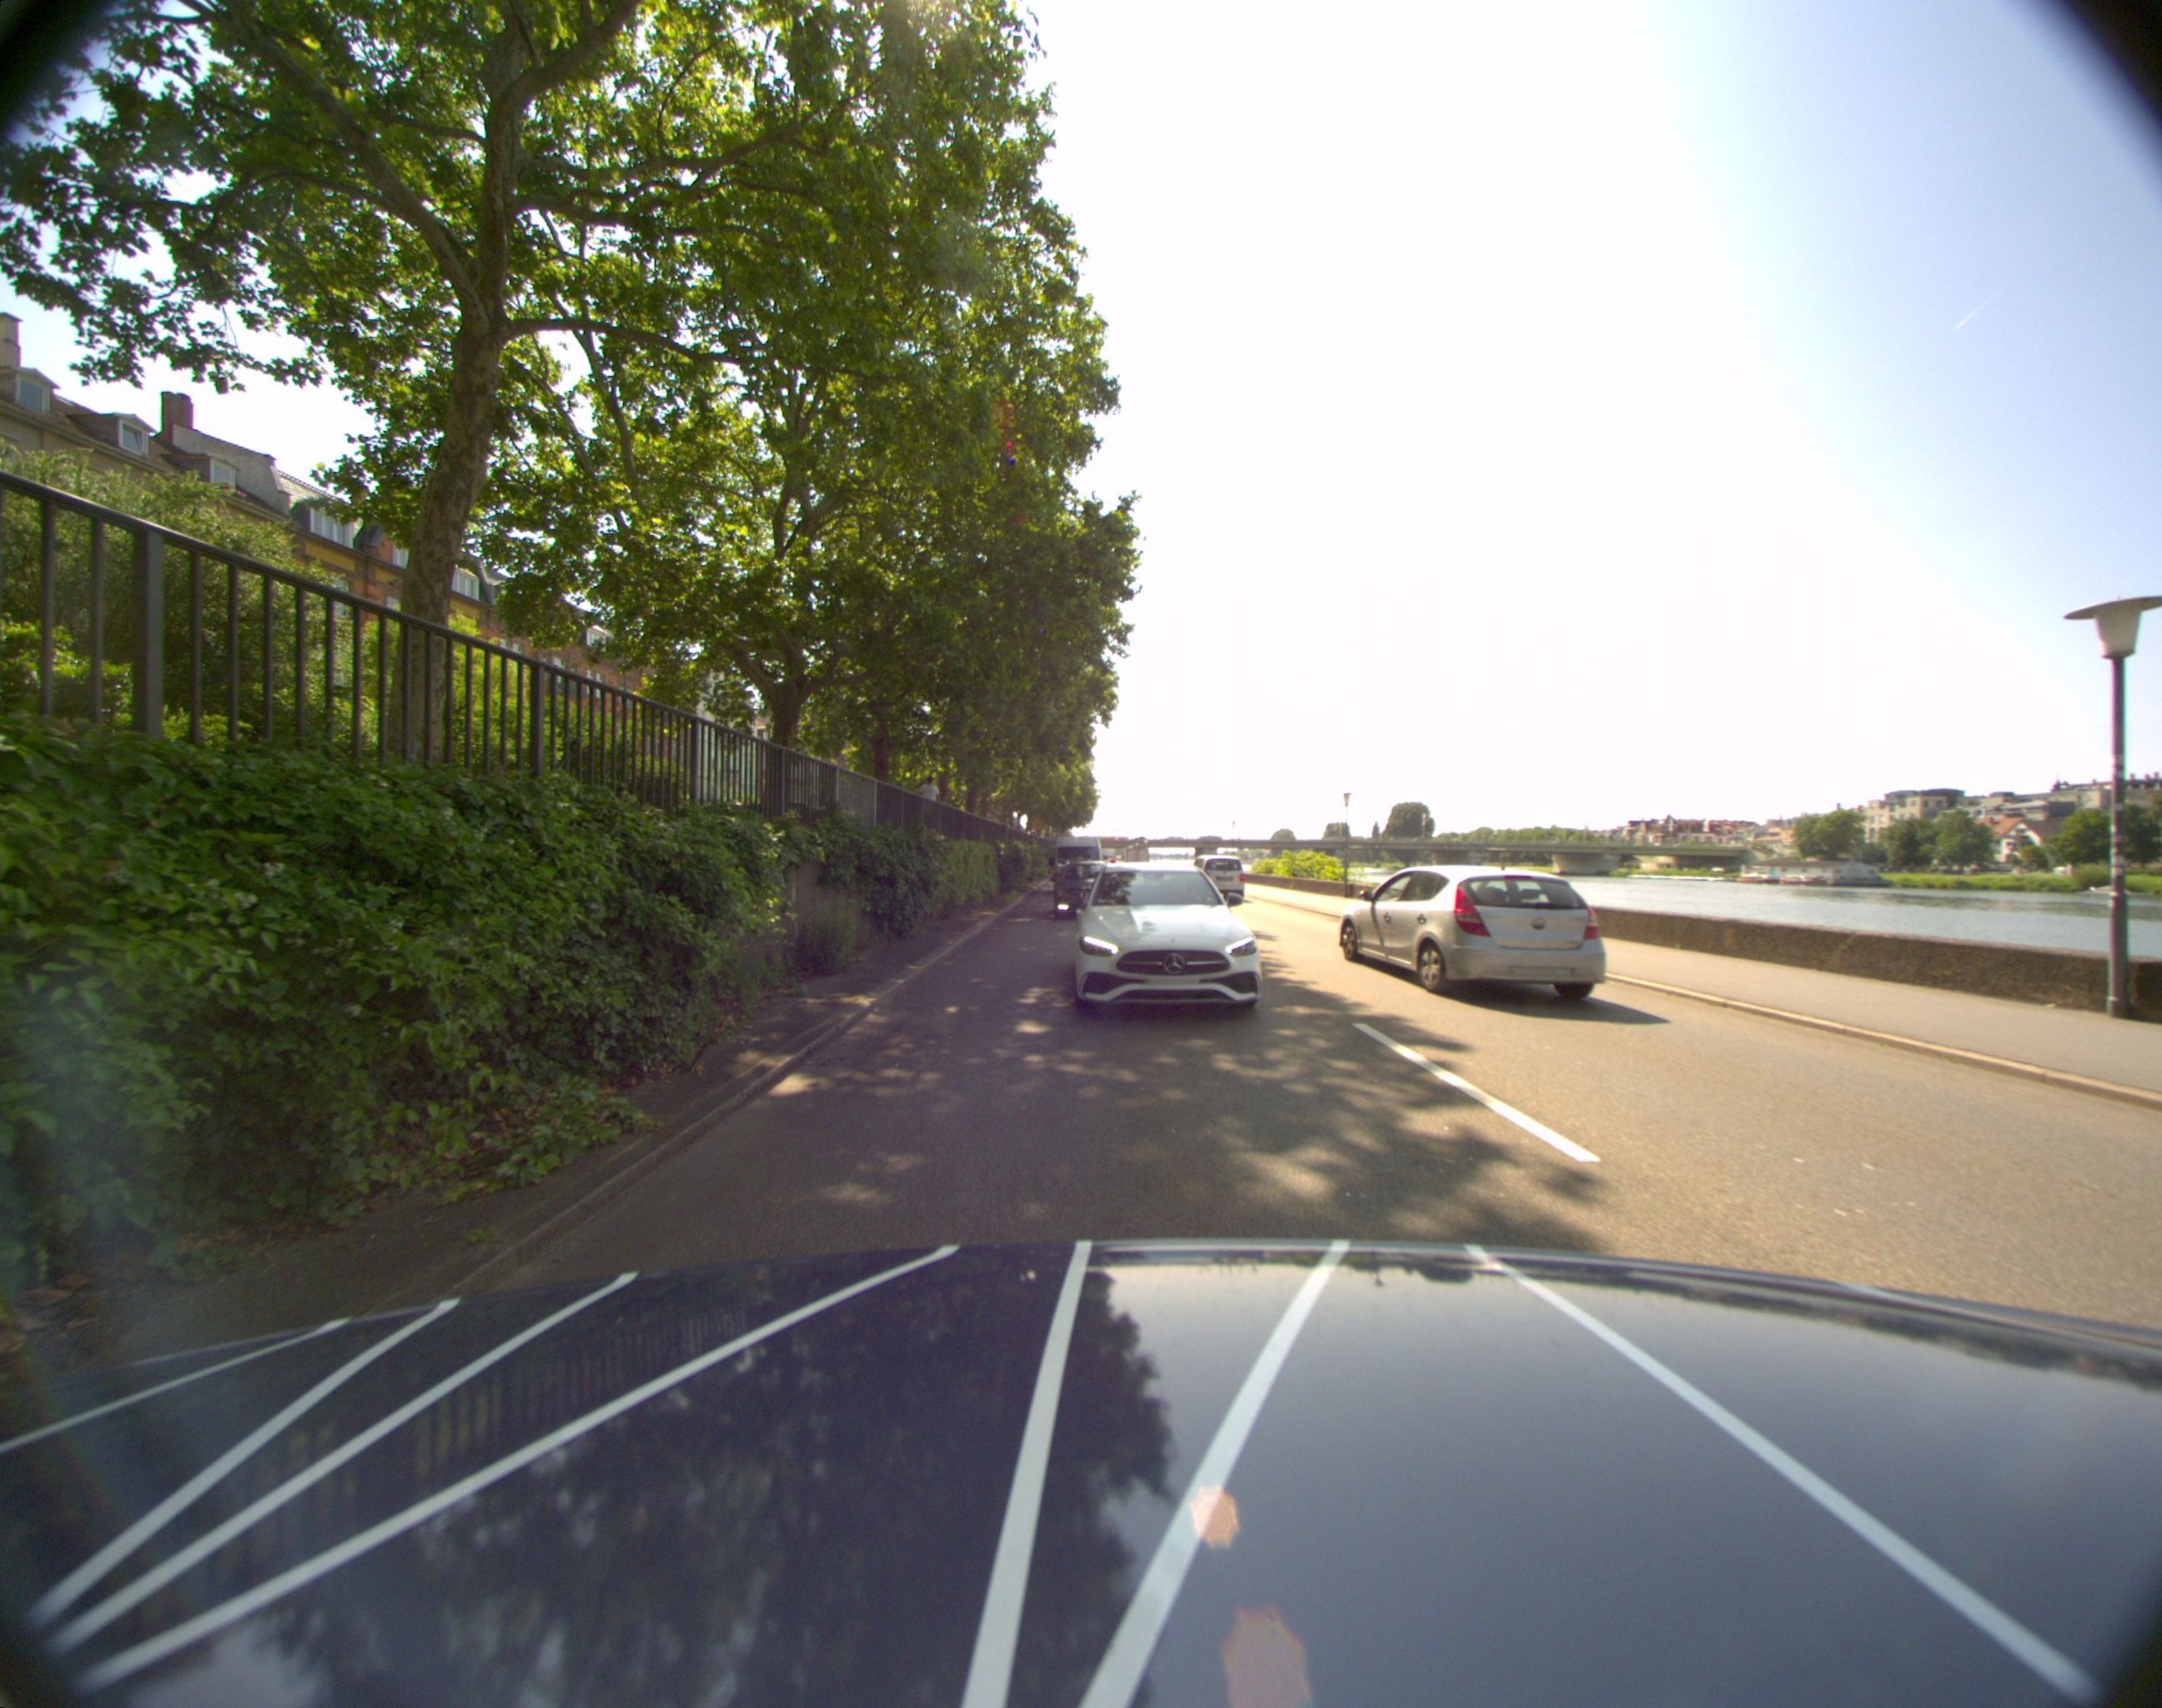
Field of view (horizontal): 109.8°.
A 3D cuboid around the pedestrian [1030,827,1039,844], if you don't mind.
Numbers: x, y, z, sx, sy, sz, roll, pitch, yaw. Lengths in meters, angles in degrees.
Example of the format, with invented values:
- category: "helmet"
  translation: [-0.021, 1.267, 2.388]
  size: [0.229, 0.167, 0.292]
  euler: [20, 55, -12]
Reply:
- category: "pedestrian"
  translation: [-4.508, -1.778, 73.484]
  size: [0.738, 1.582, 0.810]
  euler: [1, 1, 0]

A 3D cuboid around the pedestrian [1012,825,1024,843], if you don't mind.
- category: "pedestrian"
  translation: [-4.325, -1.380, 52.161]
  size: [0.713, 1.236, 0.742]
  euler: [1, 1, -1]

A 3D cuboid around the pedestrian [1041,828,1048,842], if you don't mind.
- category: "pedestrian"
  translation: [-4.102, -2.148, 84.988]
  size: [0.666, 1.582, 0.764]
  euler: [1, 1, 0]

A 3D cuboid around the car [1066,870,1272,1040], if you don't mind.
- category: "car"
  translation: [0.798, 0.951, 9.067]
  size: [1.830, 1.411, 4.552]
  euler: [0, 0, 0]

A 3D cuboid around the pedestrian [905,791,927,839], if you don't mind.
- category: "pedestrian"
  translation: [-5.010, -1.171, 23.144]
  size: [0.586, 1.411, 0.589]
  euler: [1, 1, -8]

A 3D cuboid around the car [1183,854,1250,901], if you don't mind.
- category: "car"
  translation: [5.190, 0.853, 29.605]
  size: [1.736, 1.640, 4.176]
  euler: [2, 0, -1]

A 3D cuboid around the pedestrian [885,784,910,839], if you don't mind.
- category: "pedestrian"
  translation: [-5.576, -1.292, 23.129]
  size: [0.649, 1.630, 0.626]
  euler: [1, 1, -8]

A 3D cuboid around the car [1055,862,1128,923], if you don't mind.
- category: "car"
  translation: [0.223, 0.962, 20.847]
  size: [1.756, 1.385, 4.619]
  euler: [-2, 0, -1]

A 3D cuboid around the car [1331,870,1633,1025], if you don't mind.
- category: "car"
  translation: [4.732, 0.996, 9.745]
  size: [1.736, 1.433, 4.045]
  euler: [2, 0, 1]

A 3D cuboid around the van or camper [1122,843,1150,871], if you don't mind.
- category: "van or camper"
  translation: [4.906, 0.285, 68.571]
  size: [2.082, 2.384, 5.384]
  euler: [2, 0, 0]

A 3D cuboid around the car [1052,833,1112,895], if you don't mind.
- category: "car"
  translation: [-0.012, 0.405, 33.276]
  size: [2.351, 2.428, 6.208]
  euler: [1, 0, -1]

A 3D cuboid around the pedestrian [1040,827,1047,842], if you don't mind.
- category: "pedestrian"
  translation: [-4.129, -2.147, 84.132]
  size: [0.738, 1.582, 0.810]
  euler: [1, 1, 0]

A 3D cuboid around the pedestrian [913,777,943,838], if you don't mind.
- category: "pedestrian"
  translation: [-4.099, -1.221, 20.366]
  size: [0.666, 1.582, 0.650]
  euler: [1, 1, -1]
